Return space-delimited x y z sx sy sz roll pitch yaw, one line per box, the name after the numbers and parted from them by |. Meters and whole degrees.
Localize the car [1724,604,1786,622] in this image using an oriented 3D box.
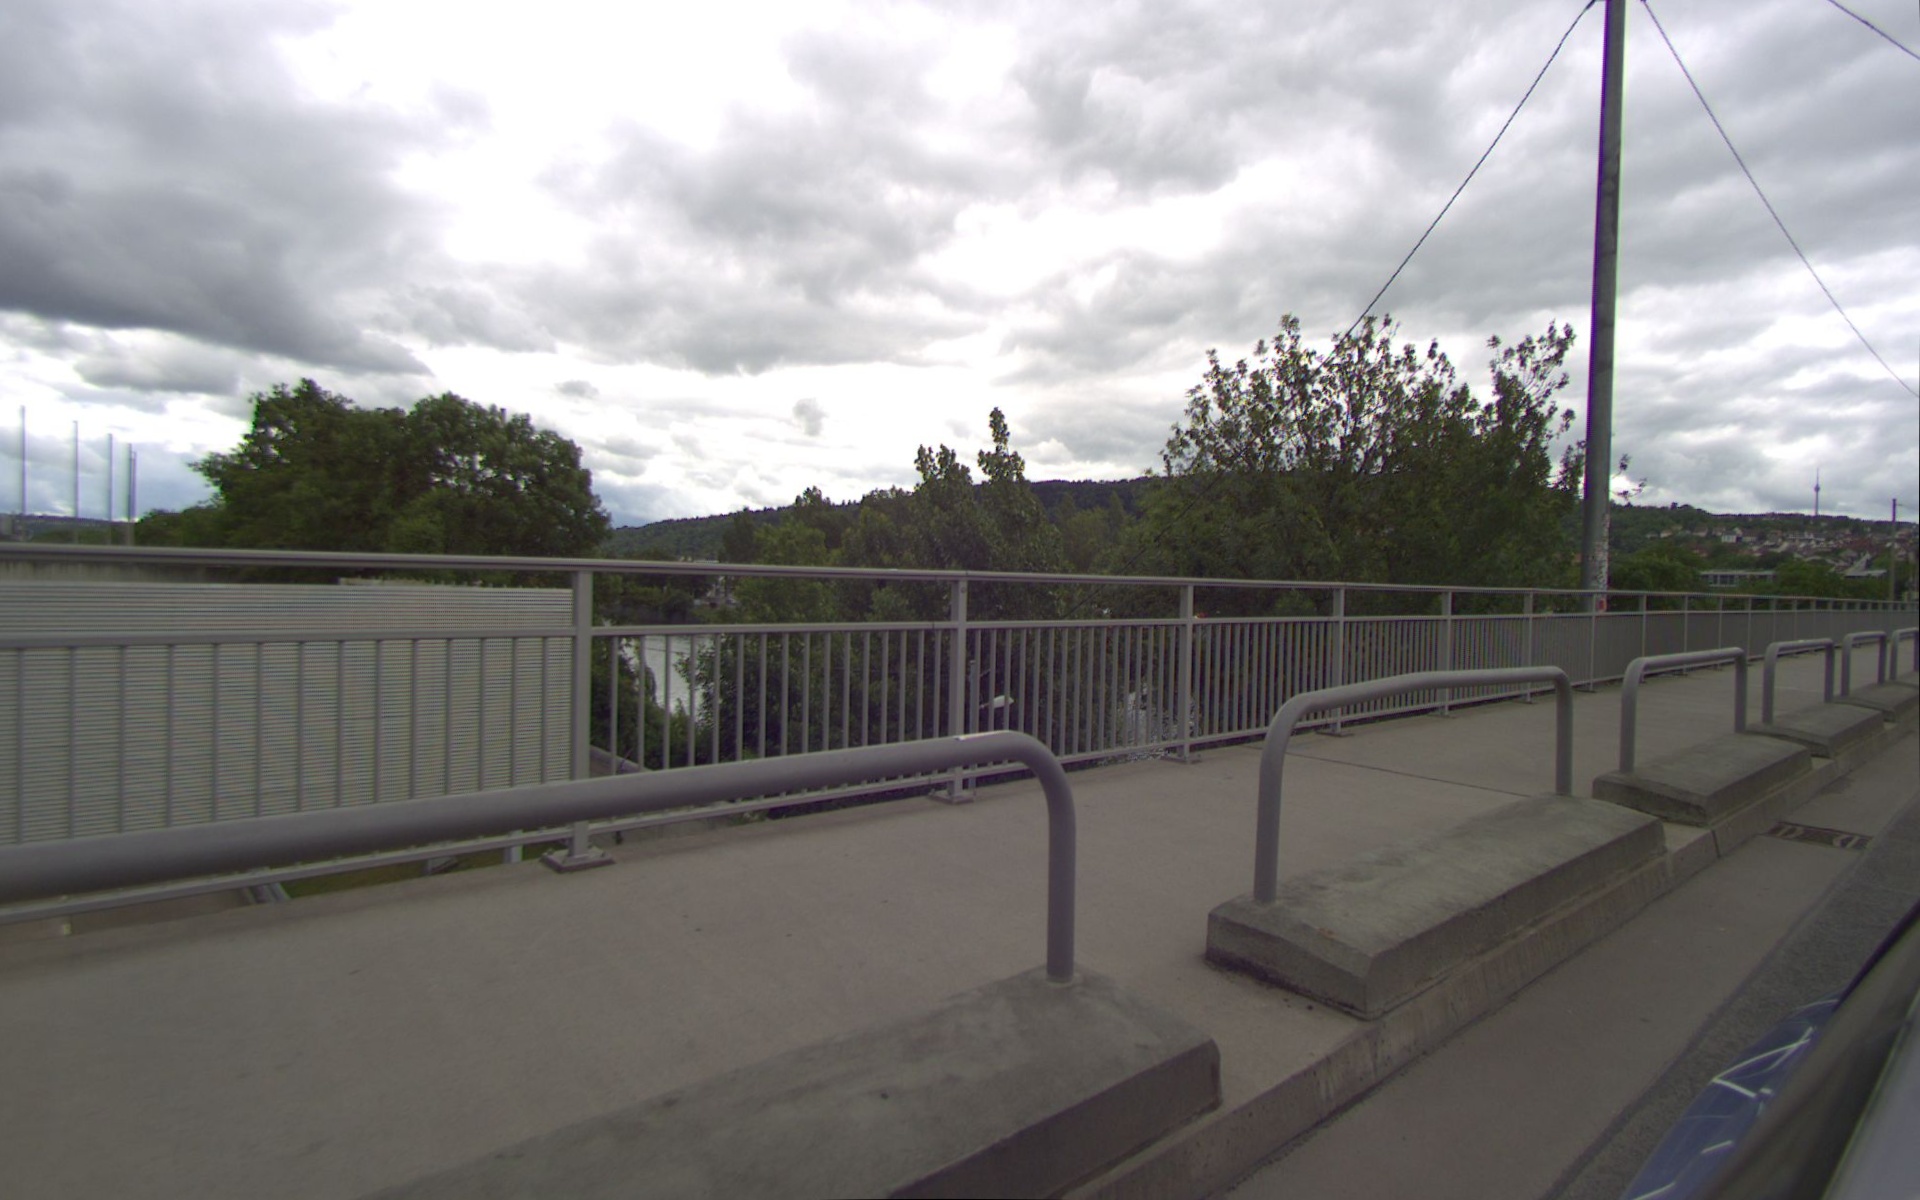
75.512 1.246 96.169 1.965 1.640 4.335 -1 0 -41 | car

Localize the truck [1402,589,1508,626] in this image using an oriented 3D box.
55.706 0.816 114.161 3.173 3.928 10.404 1 -1 -43 | truck

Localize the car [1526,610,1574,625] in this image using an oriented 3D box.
62.022 1.828 106.380 1.667 1.559 4.039 0 -1 -42 | car
